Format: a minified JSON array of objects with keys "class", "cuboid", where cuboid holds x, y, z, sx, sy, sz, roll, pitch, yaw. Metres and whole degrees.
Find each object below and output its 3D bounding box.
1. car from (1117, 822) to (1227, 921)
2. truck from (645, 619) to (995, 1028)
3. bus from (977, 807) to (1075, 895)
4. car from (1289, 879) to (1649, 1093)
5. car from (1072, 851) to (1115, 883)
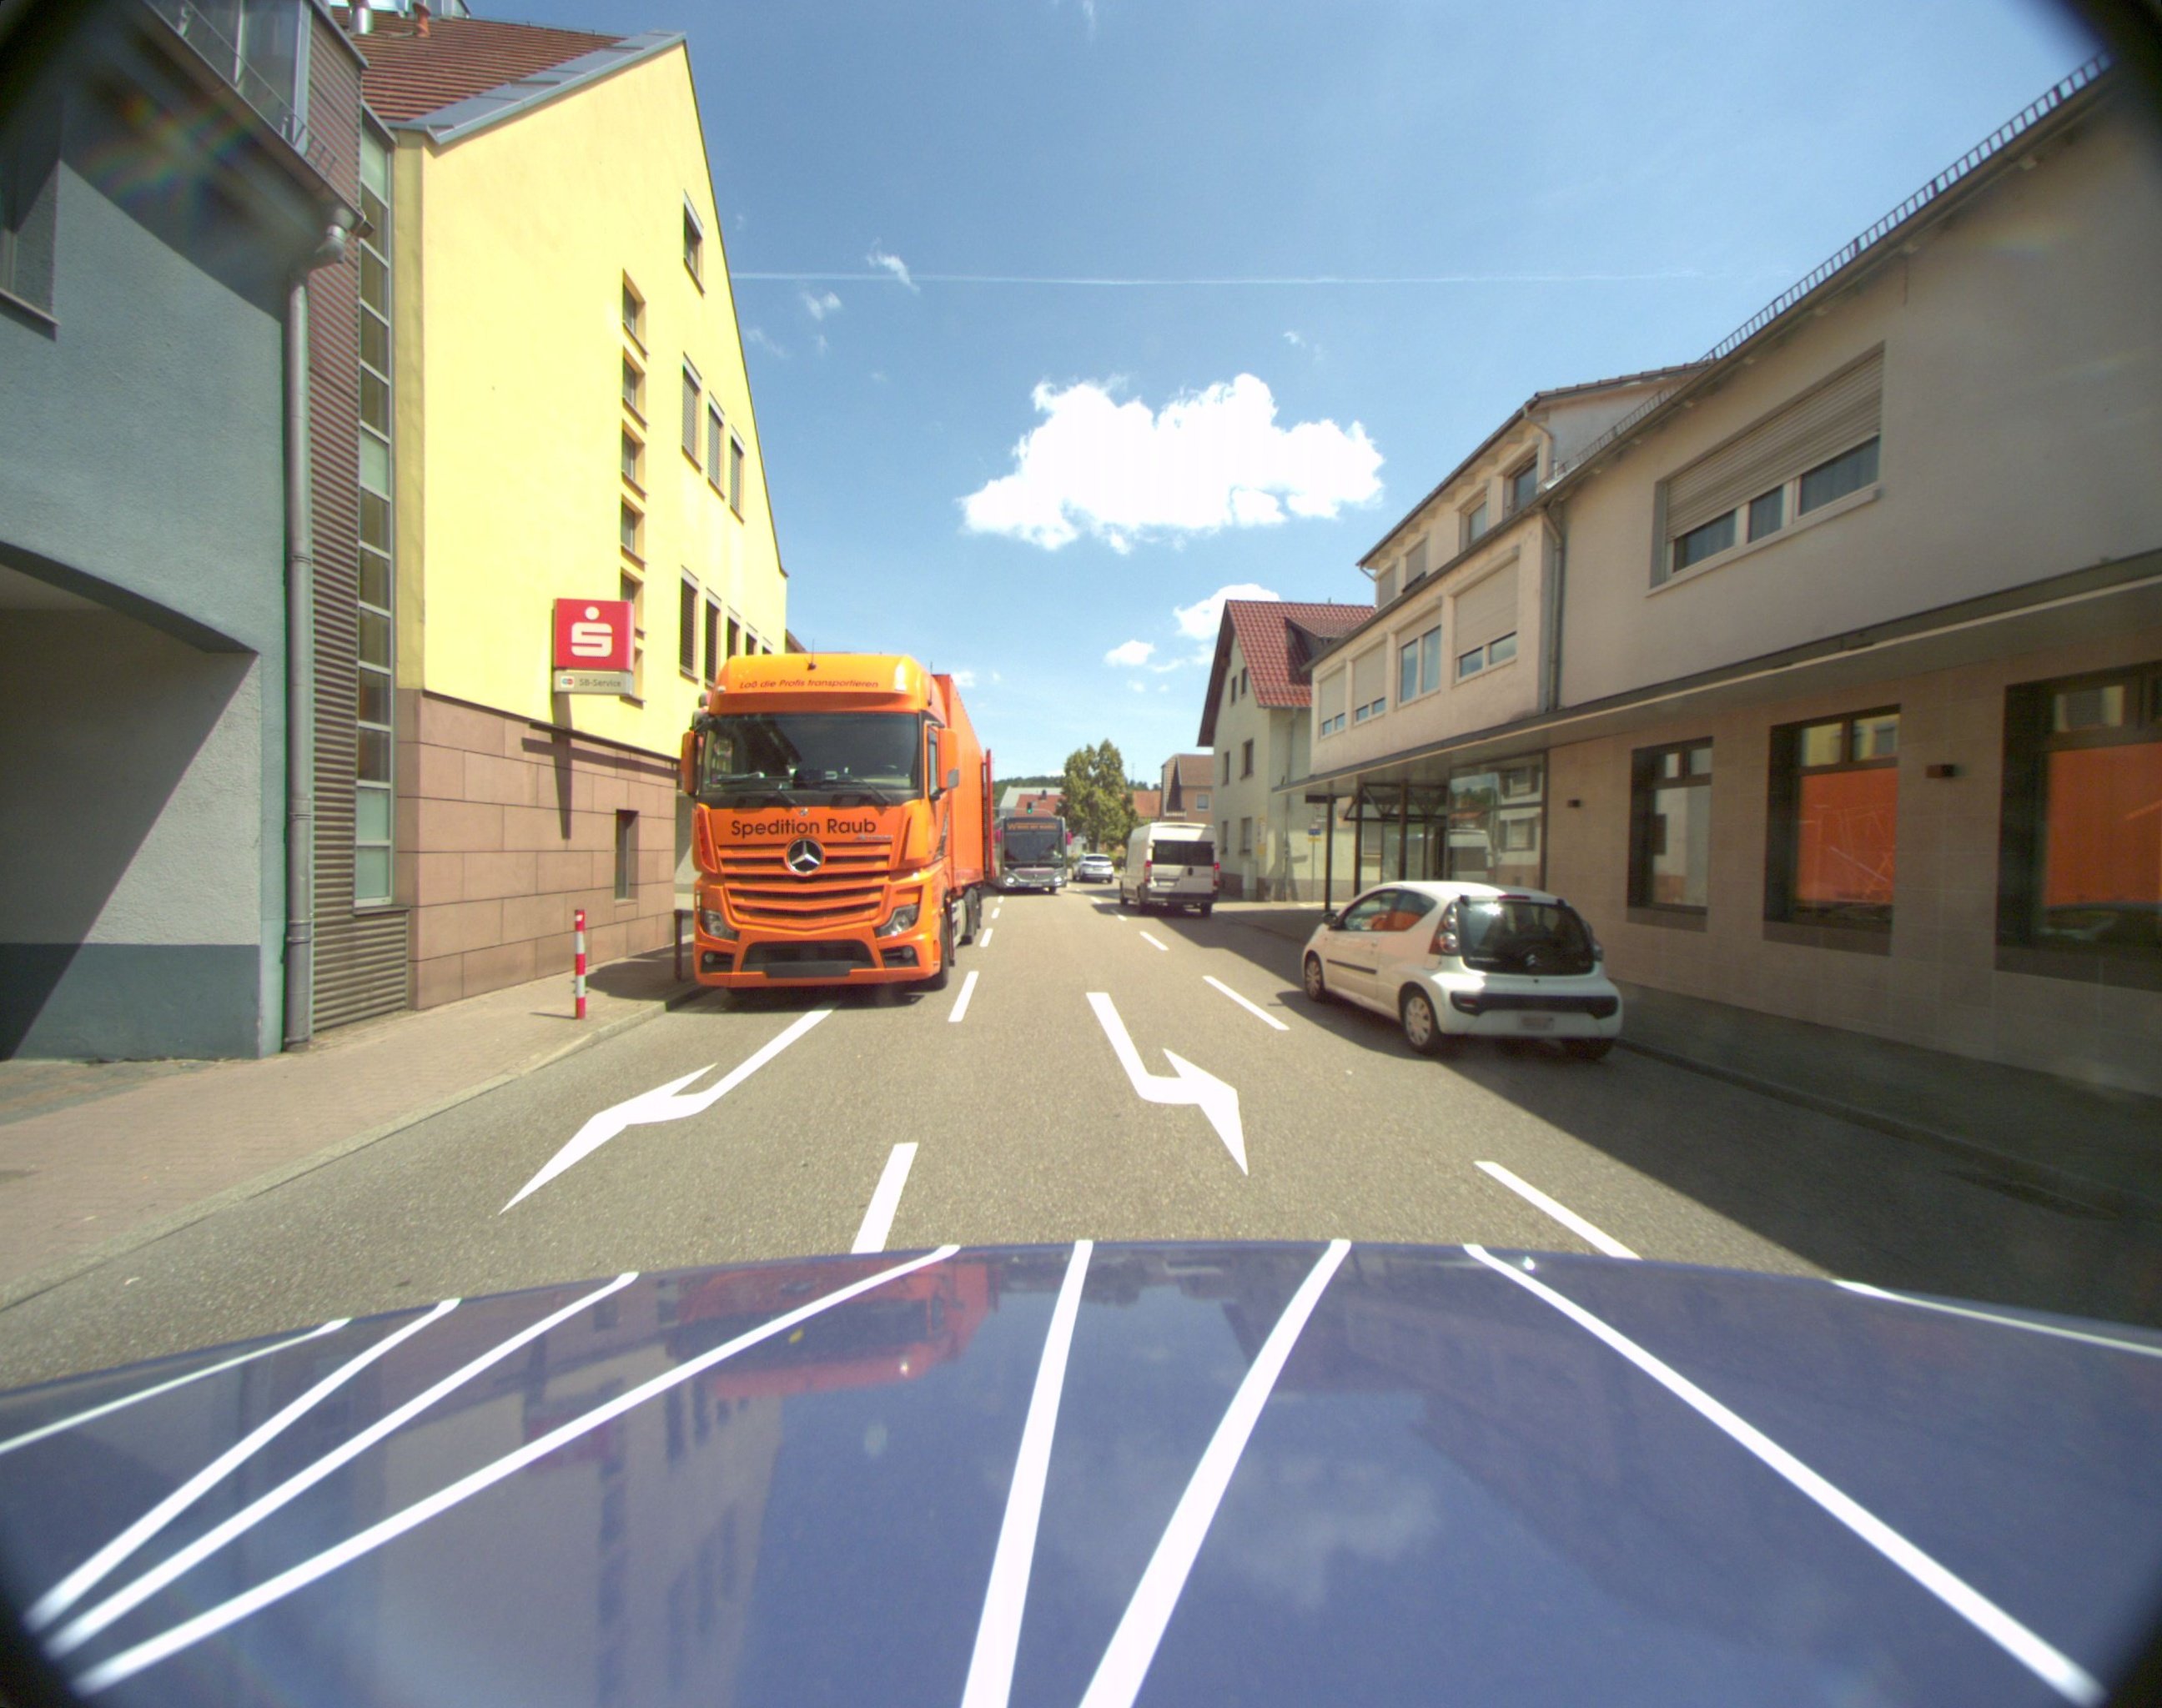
[{"class":"car","cuboid":[2.531,0.459,22.763,2.146,2.554,5.391,2,0,-5]},{"class":"truck","cuboid":[-3.092,-0.264,12.389,2.616,3.922,9.990,-2,0,-3]},{"class":"bus","cuboid":[-3.274,-0.125,37.133,2.861,3.186,19.014,1,0,-10]},{"class":"car","cuboid":[3.460,1.077,7.553,1.601,1.447,3.446,3,0,-3]},{"class":"car","cuboid":[0.634,0.669,42.210,1.824,1.546,4.195,3,1,-6]}]
